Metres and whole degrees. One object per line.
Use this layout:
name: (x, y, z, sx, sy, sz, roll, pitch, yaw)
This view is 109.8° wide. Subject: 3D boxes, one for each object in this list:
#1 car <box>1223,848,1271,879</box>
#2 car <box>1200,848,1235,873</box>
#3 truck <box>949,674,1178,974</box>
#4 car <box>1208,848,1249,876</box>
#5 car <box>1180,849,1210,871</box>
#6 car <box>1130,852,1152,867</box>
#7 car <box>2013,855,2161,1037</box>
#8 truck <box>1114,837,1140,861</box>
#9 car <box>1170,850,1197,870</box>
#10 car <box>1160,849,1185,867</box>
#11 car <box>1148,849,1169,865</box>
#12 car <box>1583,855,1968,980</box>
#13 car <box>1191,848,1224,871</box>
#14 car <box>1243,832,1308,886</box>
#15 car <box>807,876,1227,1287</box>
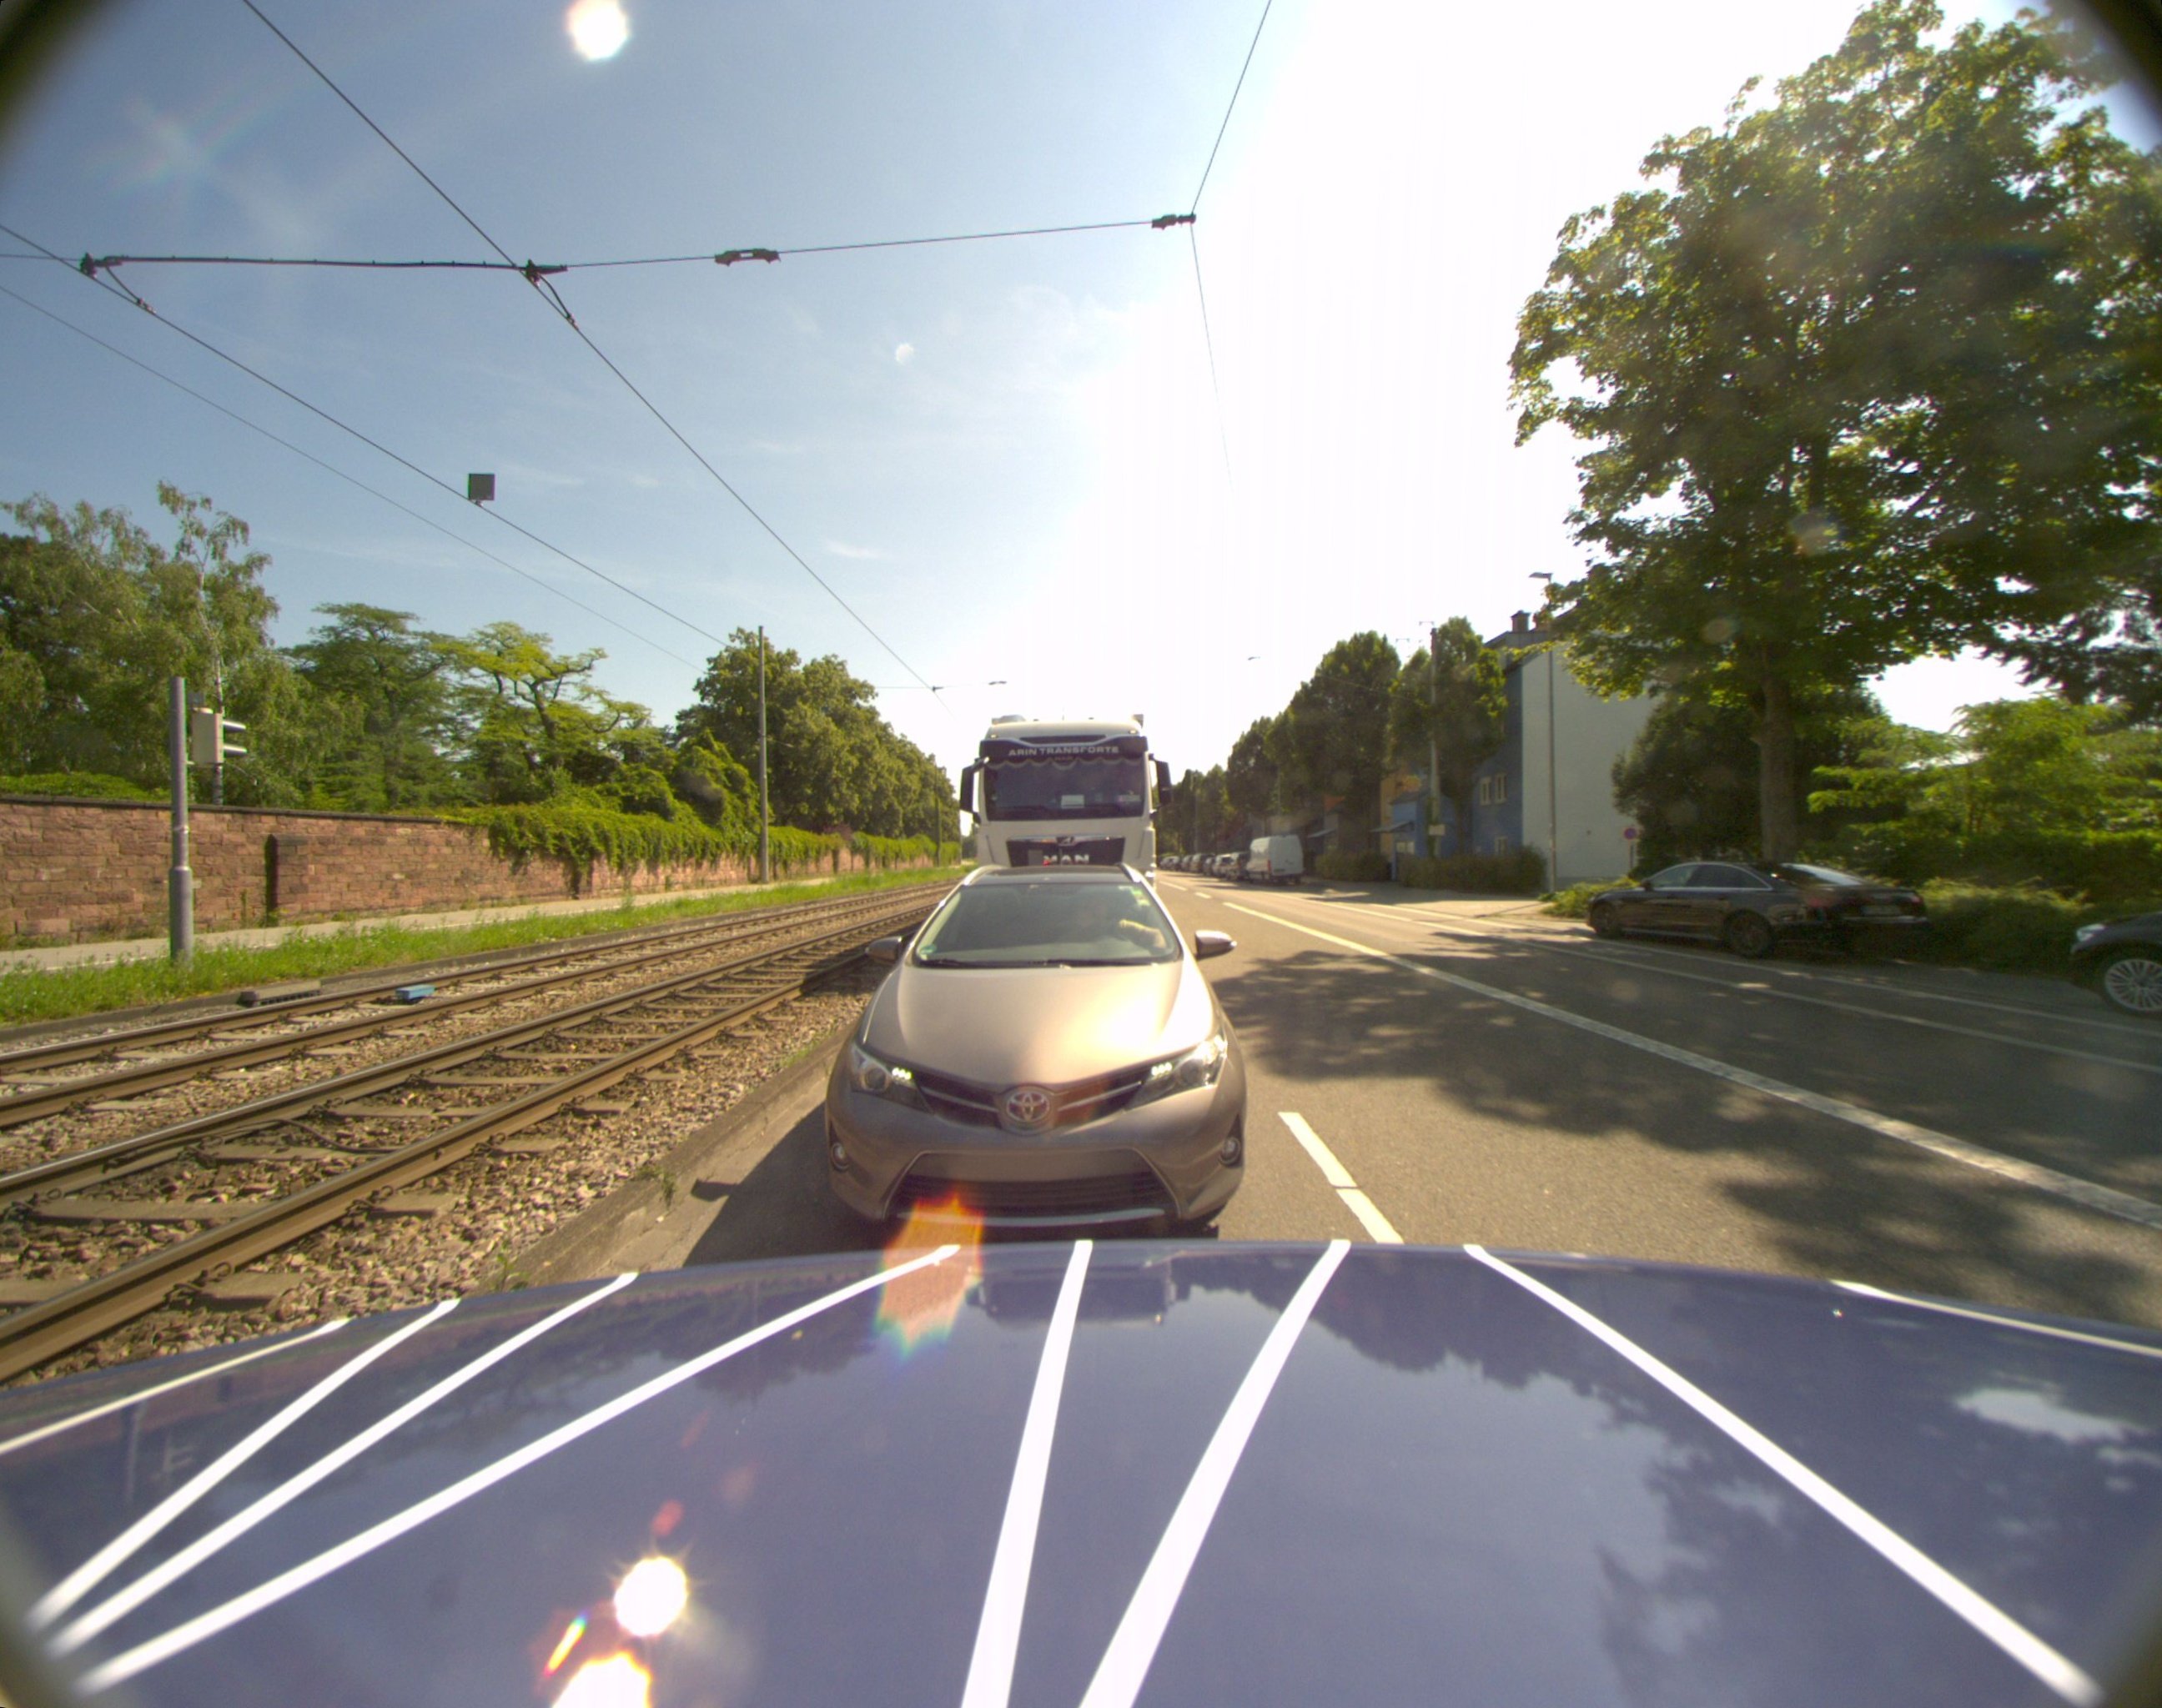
car: (11.151, 0.639, 51.436, 1.998, 1.795, 4.769, -6, 0, 0)
car: (11.235, 0.537, 62.852, 1.998, 1.795, 4.256, -6, 0, 0)
truck: (-0.131, -0.402, 17.215, 2.935, 3.856, 14.913, 0, 0, 1)
car: (11.094, 0.582, 57.369, 1.998, 1.795, 4.769, -6, 0, 0)
car: (11.006, 0.567, 73.367, 1.998, 1.795, 4.769, -6, 0, 0)
car: (8.297, 0.805, 105.559, 1.999, 1.795, 5.111, -6, 0, -4)
car: (10.592, 0.826, 5.559, 1.868, 1.562, 4.621, -2, 0, 0)
truck: (7.005, -0.666, 116.097, 2.704, 3.263, 6.724, -6, 0, -5)
car: (10.587, 0.640, 79.156, 1.998, 1.795, 4.769, -6, 0, 0)
car: (10.294, 0.479, 85.900, 1.998, 1.795, 4.769, -6, 0, 0)
car: (9.847, 0.421, 96.820, 1.998, 1.795, 4.769, -6, 0, 0)
car: (10.528, 0.826, 12.148, 1.868, 1.562, 4.621, -1, 0, -2)
car: (11.206, 0.500, 67.663, 1.998, 1.795, 4.769, -6, 0, 0)
car: (10.921, 0.254, 43.140, 1.998, 2.678, 6.214, -6, 0, 2)
car: (-0.216, 0.913, 4.855, 1.573, 1.422, 4.000, 0, 0, 1)
